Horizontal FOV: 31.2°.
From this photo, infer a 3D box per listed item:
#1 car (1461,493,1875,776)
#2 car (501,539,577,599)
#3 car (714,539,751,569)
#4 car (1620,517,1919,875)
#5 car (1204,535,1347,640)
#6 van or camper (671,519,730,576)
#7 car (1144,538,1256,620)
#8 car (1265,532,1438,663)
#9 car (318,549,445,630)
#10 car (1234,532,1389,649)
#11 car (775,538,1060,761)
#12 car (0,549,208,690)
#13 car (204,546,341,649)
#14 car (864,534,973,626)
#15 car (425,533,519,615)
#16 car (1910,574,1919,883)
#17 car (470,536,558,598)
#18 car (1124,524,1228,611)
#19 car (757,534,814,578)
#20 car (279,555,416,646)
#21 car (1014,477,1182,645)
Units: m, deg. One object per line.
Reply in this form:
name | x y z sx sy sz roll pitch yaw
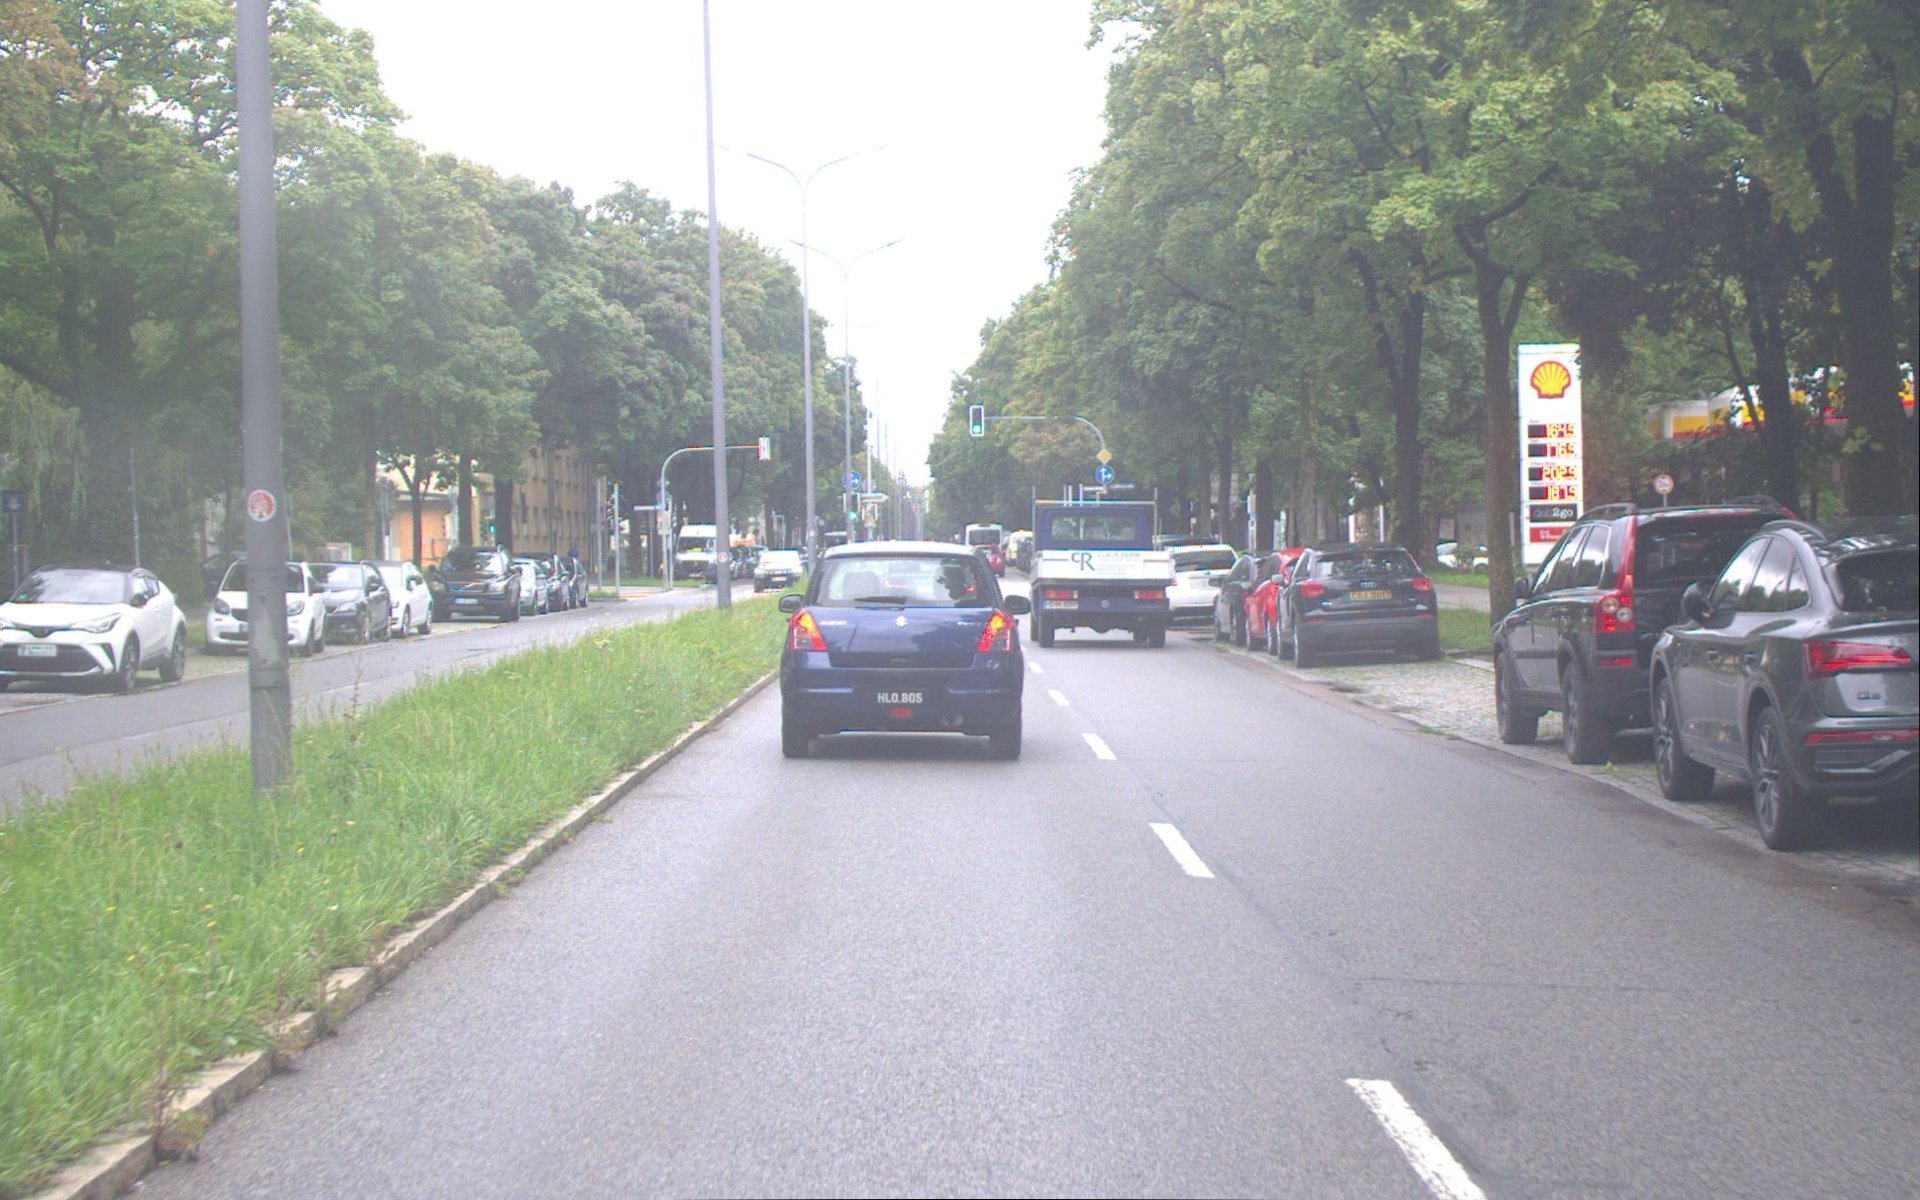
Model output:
car | 4.974 0.172 24.850 1.892 1.794 4.862 -2 1 -1
car | -11.301 -0.856 92.488 1.666 1.557 4.300 -1 1 -3
car | -11.593 -2.350 175.289 1.636 1.437 3.735 -2 1 0
car | 4.932 0.401 18.805 1.813 1.670 4.800 -2 1 2
car | 4.813 -0.226 52.978 1.675 1.448 4.583 -3 1 0
van or camper | -11.664 -2.385 154.885 2.140 2.467 6.259 -2 1 0
car | 4.649 -0.434 67.225 1.760 1.448 4.633 -3 1 0
car | 4.966 -0.067 44.092 1.779 1.506 4.285 -3 1 2
car | -11.158 -0.228 66.544 1.674 1.438 4.320 2 1 0
car | 4.920 -0.164 48.554 1.675 1.496 4.022 -3 1 0
car | -0.383 0.303 24.981 1.896 1.494 3.661 0 1 -3
car | -10.858 0.200 43.087 1.832 1.604 4.491 1 1 0
car | -11.169 -0.064 56.021 1.690 1.560 3.080 2 1 -2
car | -0.715 -0.372 59.272 1.799 1.494 3.660 -1 1 -1
car | -11.310 -0.636 79.962 1.796 1.757 5.059 2 1 -4
car | 5.118 0.613 13.420 1.702 1.403 4.512 -2 1 2
car | -11.251 -0.856 86.968 1.666 1.440 4.375 2 1 -1
car | 4.534 -0.709 72.785 1.760 1.692 5.230 -3 1 0
car | -6.067 -1.535 119.684 1.739 1.435 4.215 -1 1 0
car | -10.912 -0.016 61.473 1.674 1.470 4.215 2 1 0
car | 2.060 -0.617 52.541 2.419 2.435 5.086 0 1 1
